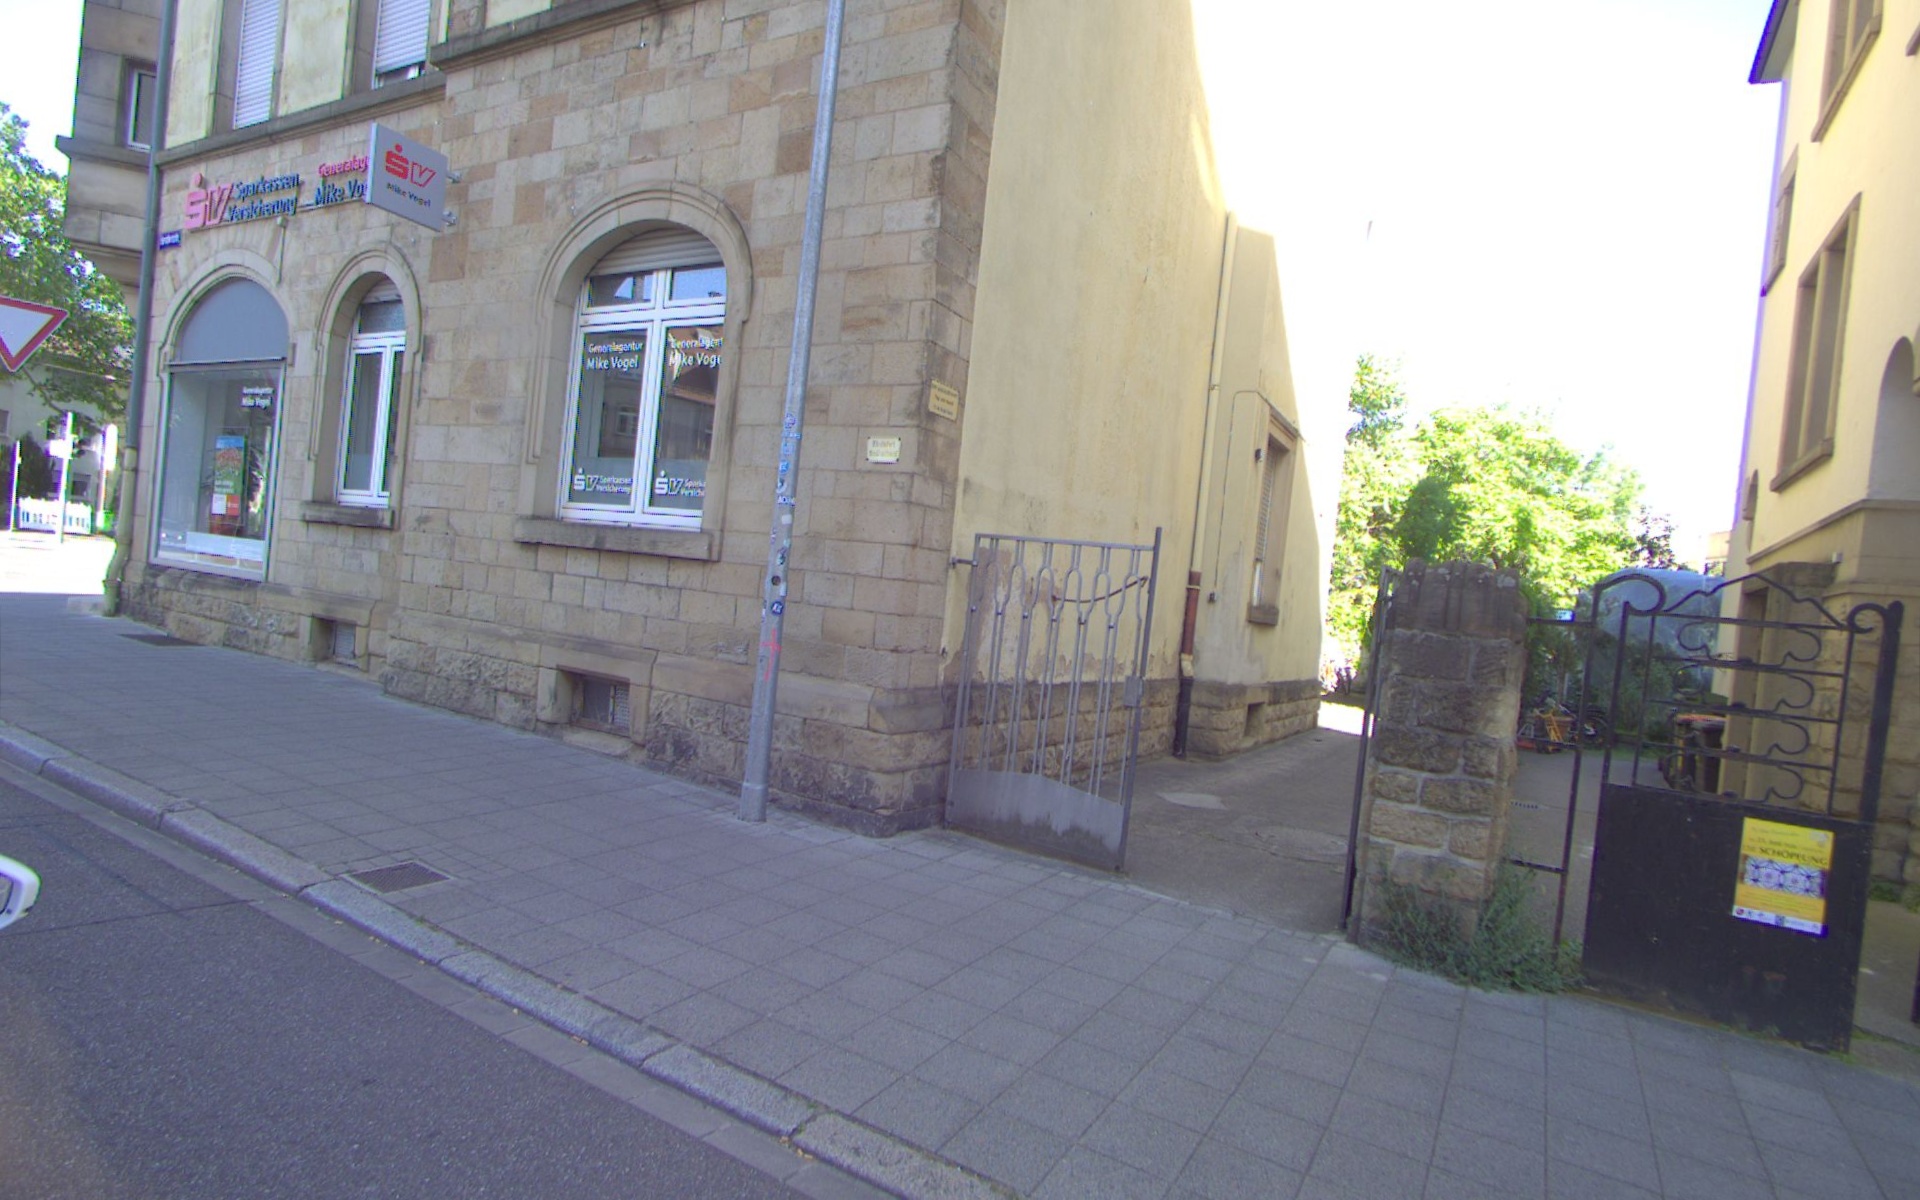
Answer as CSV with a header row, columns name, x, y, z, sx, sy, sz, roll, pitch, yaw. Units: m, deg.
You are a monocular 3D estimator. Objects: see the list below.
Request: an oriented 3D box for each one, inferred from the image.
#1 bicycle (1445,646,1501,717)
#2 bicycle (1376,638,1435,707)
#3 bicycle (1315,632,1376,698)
name,x,y,z,sx,sy,sz,roll,pitch,yaw
bicycle,12.591,1.940,24.642,0.904,1.532,2.667,6,2,31
bicycle,11.206,1.781,25.256,0.904,1.532,2.667,6,2,31
bicycle,9.973,1.645,25.973,0.904,1.532,2.667,6,2,31
